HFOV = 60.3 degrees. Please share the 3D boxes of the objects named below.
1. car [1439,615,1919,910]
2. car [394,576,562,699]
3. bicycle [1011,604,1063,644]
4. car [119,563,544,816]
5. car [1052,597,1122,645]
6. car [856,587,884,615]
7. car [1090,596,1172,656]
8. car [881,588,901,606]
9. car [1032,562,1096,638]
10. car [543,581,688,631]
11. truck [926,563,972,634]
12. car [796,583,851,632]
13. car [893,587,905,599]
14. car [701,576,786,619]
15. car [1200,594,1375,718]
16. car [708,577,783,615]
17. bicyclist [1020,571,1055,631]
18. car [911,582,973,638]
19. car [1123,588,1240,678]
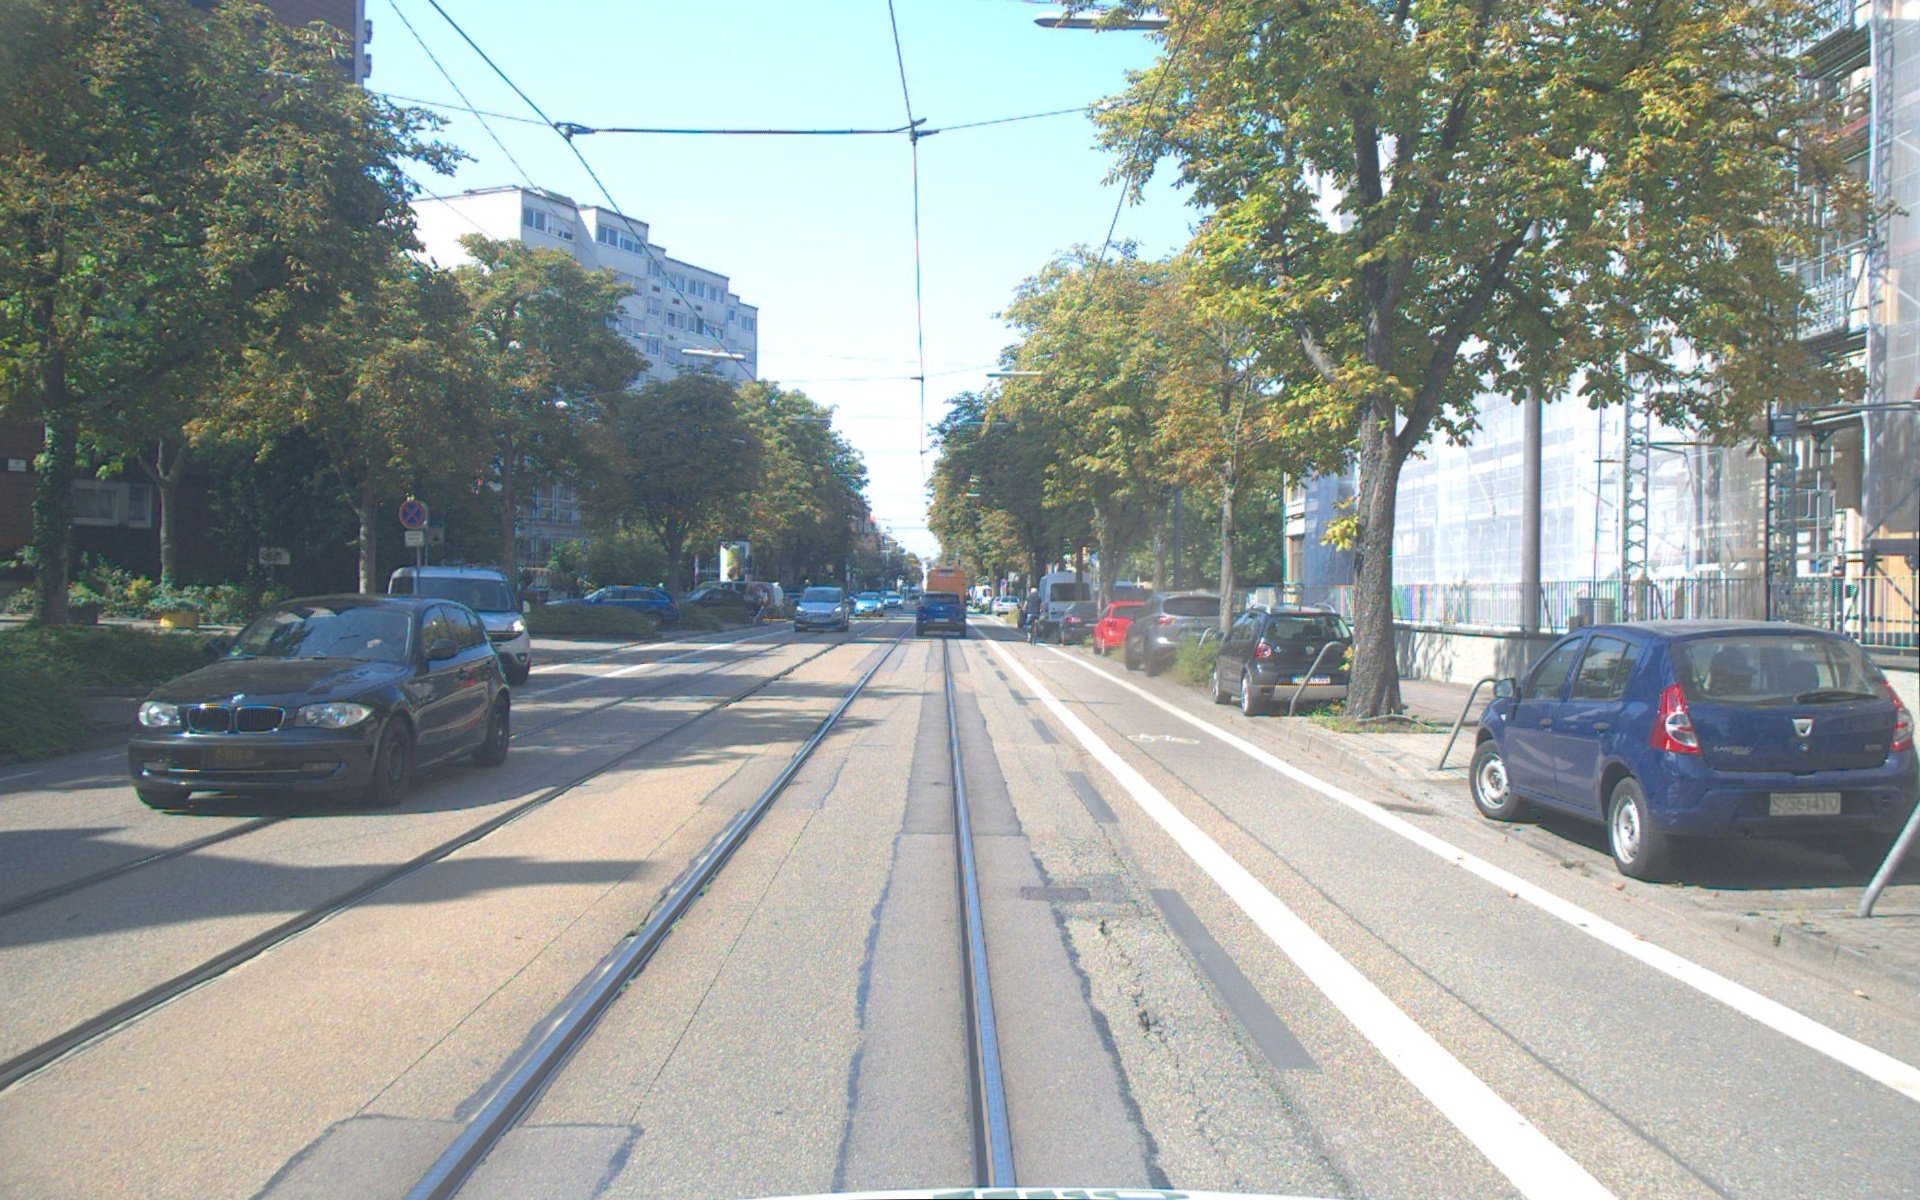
[{"bbox_3d":[4.744,0.923,11.301,1.707,1.583,4.216,0,0,0],"label":"car"},{"bbox_3d":[-7.928,0.559,26.989,1.728,1.828,3.960,2,0,-30],"label":"car"},{"bbox_3d":[2.378,0.727,51.889,1.373,1.154,3.999,1,0,-1],"label":"bicycle"},{"bbox_3d":[-4.584,0.565,12.772,1.647,1.599,4.206,1,0,0],"label":"car"},{"bbox_3d":[4.179,0.660,55.006,1.869,1.456,4.291,2,0,-2],"label":"car"},{"bbox_3d":[-5.480,0.029,100.983,1.600,1.612,4.187,1,0,-2],"label":"car"},{"bbox_3d":[4.604,0.665,44.872,1.705,1.488,3.683,1,0,-2],"label":"car"},{"bbox_3d":[-6.449,-0.279,154.697,1.860,1.589,4.121,1,0,-2],"label":"car"},{"bbox_3d":[4.070,-0.026,65.596,1.953,2.804,5.759,1,0,-2],"label":"car"},{"bbox_3d":[-11.705,0.205,56.168,4.510,1.579,1.985,2,0,-25],"label":"car"},{"bbox_3d":[-0.525,-0.075,77.967,2.092,3.179,6.084,0,0,-1],"label":"truck"},{"bbox_3d":[-5.066,0.271,61.769,1.744,1.713,4.346,2,0,-2],"label":"car"},{"bbox_3d":[-9.125,-1.029,248.266,1.712,1.828,3.999,1,0,-2],"label":"car"},{"bbox_3d":[-10.976,-0.110,83.991,3.969,2.049,1.827,1,0,-44],"label":"car"},{"bbox_3d":[4.725,0.751,24.399,1.600,1.612,4.187,1,0,-2],"label":"car"},{"bbox_3d":[-12.261,-0.221,94.642,3.969,2.049,1.827,1,0,-44],"label":"car"},{"bbox_3d":[2.429,0.031,51.869,1.011,1.843,1.016,1,0,-1],"label":"bicyclist"},{"bbox_3d":[-0.635,0.312,59.291,2.092,1.891,5.567,0,0,-1],"label":"car"},{"bbox_3d":[4.534,0.632,34.490,1.705,1.697,4.360,1,0,-2],"label":"car"}]
